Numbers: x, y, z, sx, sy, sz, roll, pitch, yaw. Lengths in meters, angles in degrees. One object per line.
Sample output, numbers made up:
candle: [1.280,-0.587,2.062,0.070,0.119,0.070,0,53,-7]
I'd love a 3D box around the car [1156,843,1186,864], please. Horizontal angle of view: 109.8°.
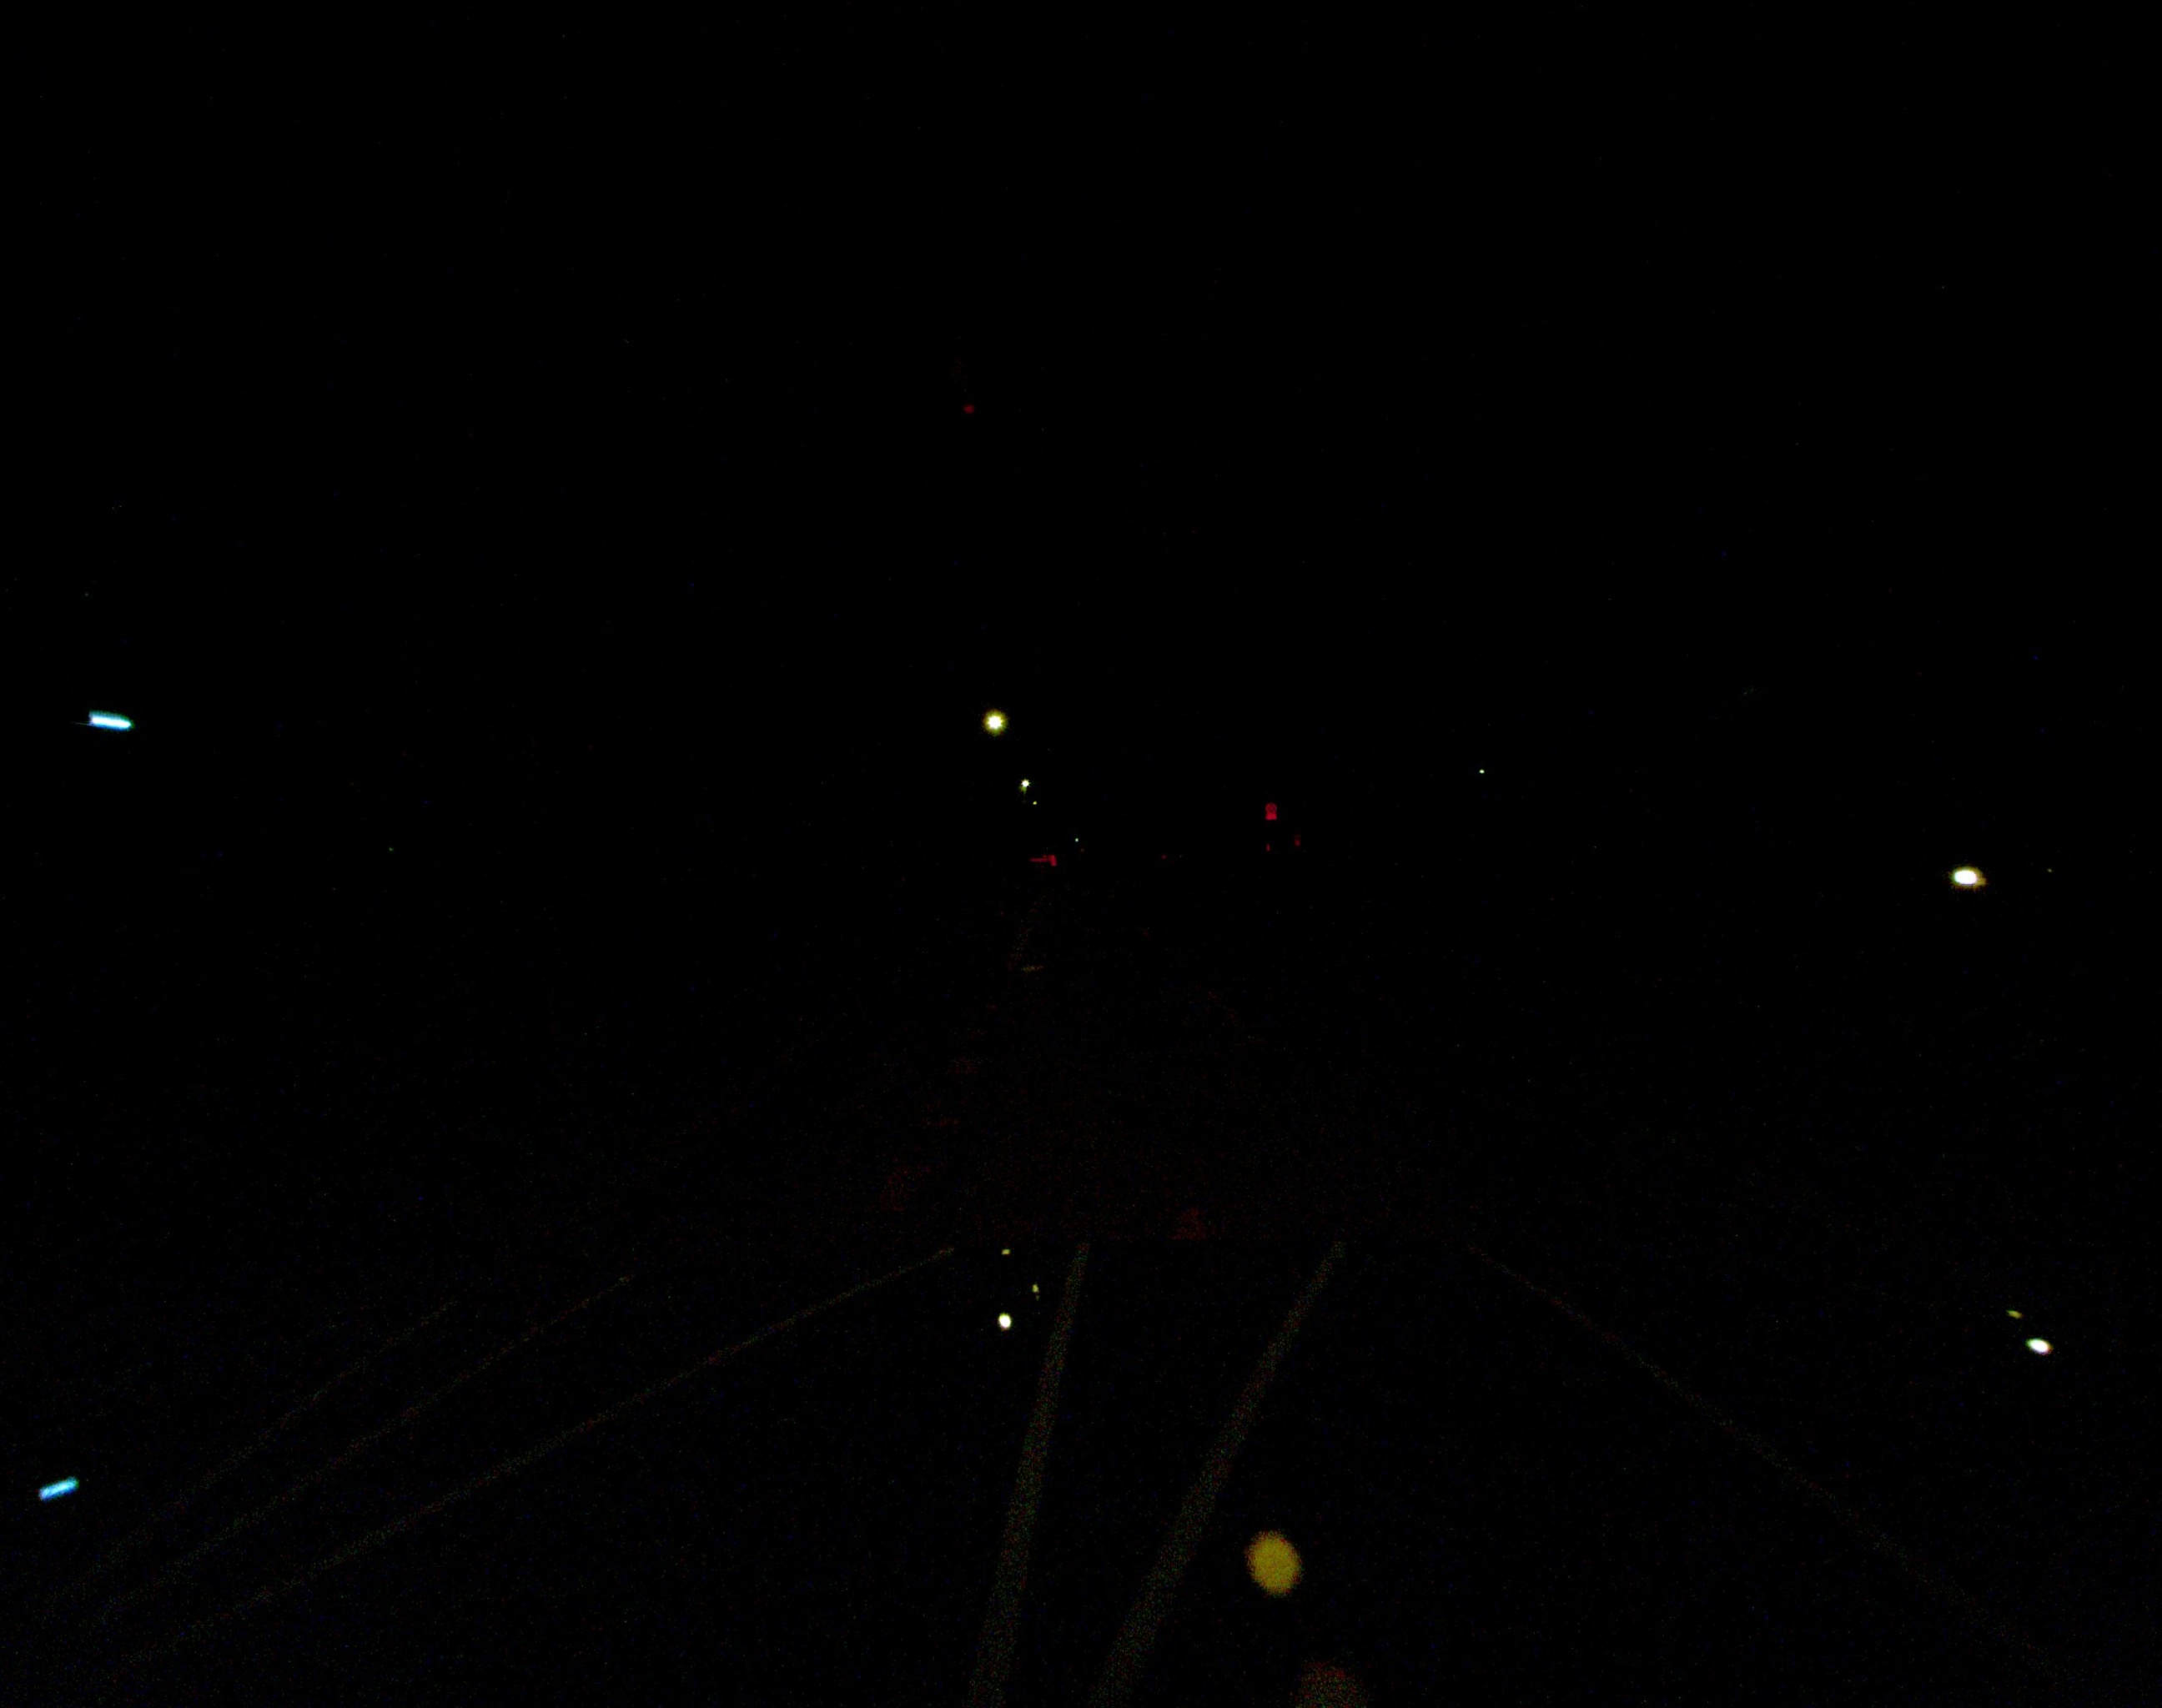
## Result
car: [7.213,-0.083,61.007,1.911,1.445,3.999,-3,2,1]

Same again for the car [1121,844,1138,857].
car: [6.392,-0.462,100.464,1.911,1.445,3.999,-3,2,1]

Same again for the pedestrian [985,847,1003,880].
pedestrian: [-4.928,0.541,42.972,0.824,1.809,0.608,-3,2,1]

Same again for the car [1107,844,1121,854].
car: [5.149,-0.772,118.537,1.911,1.445,3.999,-3,2,1]

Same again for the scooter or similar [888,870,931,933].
scooter or similar: [-3.653,0.988,16.279,0.570,1.271,1.391,0,0,0]

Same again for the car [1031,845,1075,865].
car: [-2.576,0.085,70.796,3.997,1.821,1.912,0,2,0]
